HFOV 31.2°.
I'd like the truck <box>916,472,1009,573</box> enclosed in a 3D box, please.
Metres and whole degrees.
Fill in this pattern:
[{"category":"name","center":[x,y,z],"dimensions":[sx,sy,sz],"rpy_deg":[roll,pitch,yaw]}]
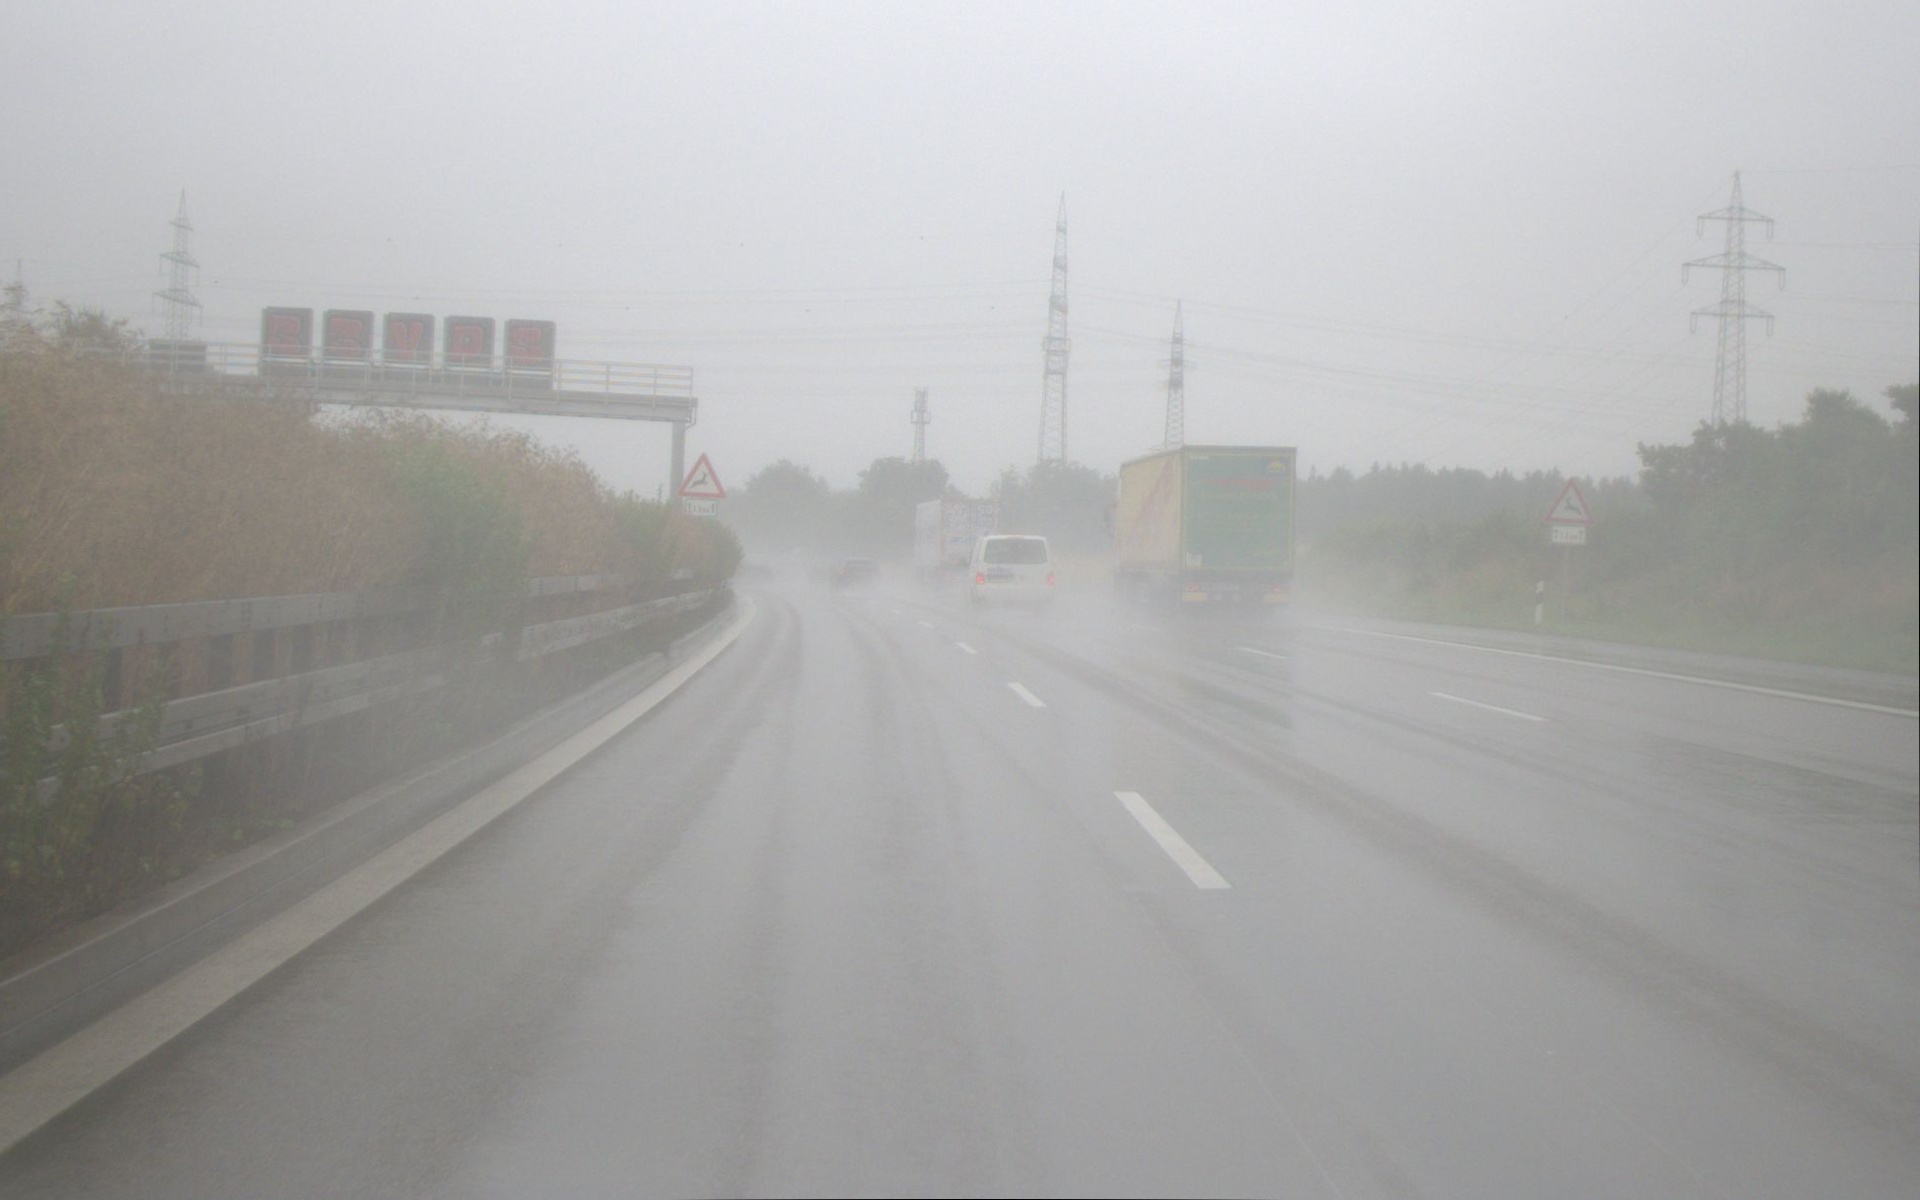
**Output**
[{"category":"truck","center":[0.049,-3.441,152.492],"dimensions":[3.232,4.296,8.839],"rpy_deg":[1,1,-5]}]

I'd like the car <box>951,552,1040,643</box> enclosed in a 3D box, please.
[{"category":"car","center":[0.841,-0.093,79.919],"dimensions":[1.993,2.007,4.000],"rpy_deg":[1,1,1]}]

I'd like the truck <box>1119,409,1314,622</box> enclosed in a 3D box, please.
[{"category":"truck","center":[6.020,-1.946,83.561],"dimensions":[4.189,4.614,16.104],"rpy_deg":[1,1,3]}]
